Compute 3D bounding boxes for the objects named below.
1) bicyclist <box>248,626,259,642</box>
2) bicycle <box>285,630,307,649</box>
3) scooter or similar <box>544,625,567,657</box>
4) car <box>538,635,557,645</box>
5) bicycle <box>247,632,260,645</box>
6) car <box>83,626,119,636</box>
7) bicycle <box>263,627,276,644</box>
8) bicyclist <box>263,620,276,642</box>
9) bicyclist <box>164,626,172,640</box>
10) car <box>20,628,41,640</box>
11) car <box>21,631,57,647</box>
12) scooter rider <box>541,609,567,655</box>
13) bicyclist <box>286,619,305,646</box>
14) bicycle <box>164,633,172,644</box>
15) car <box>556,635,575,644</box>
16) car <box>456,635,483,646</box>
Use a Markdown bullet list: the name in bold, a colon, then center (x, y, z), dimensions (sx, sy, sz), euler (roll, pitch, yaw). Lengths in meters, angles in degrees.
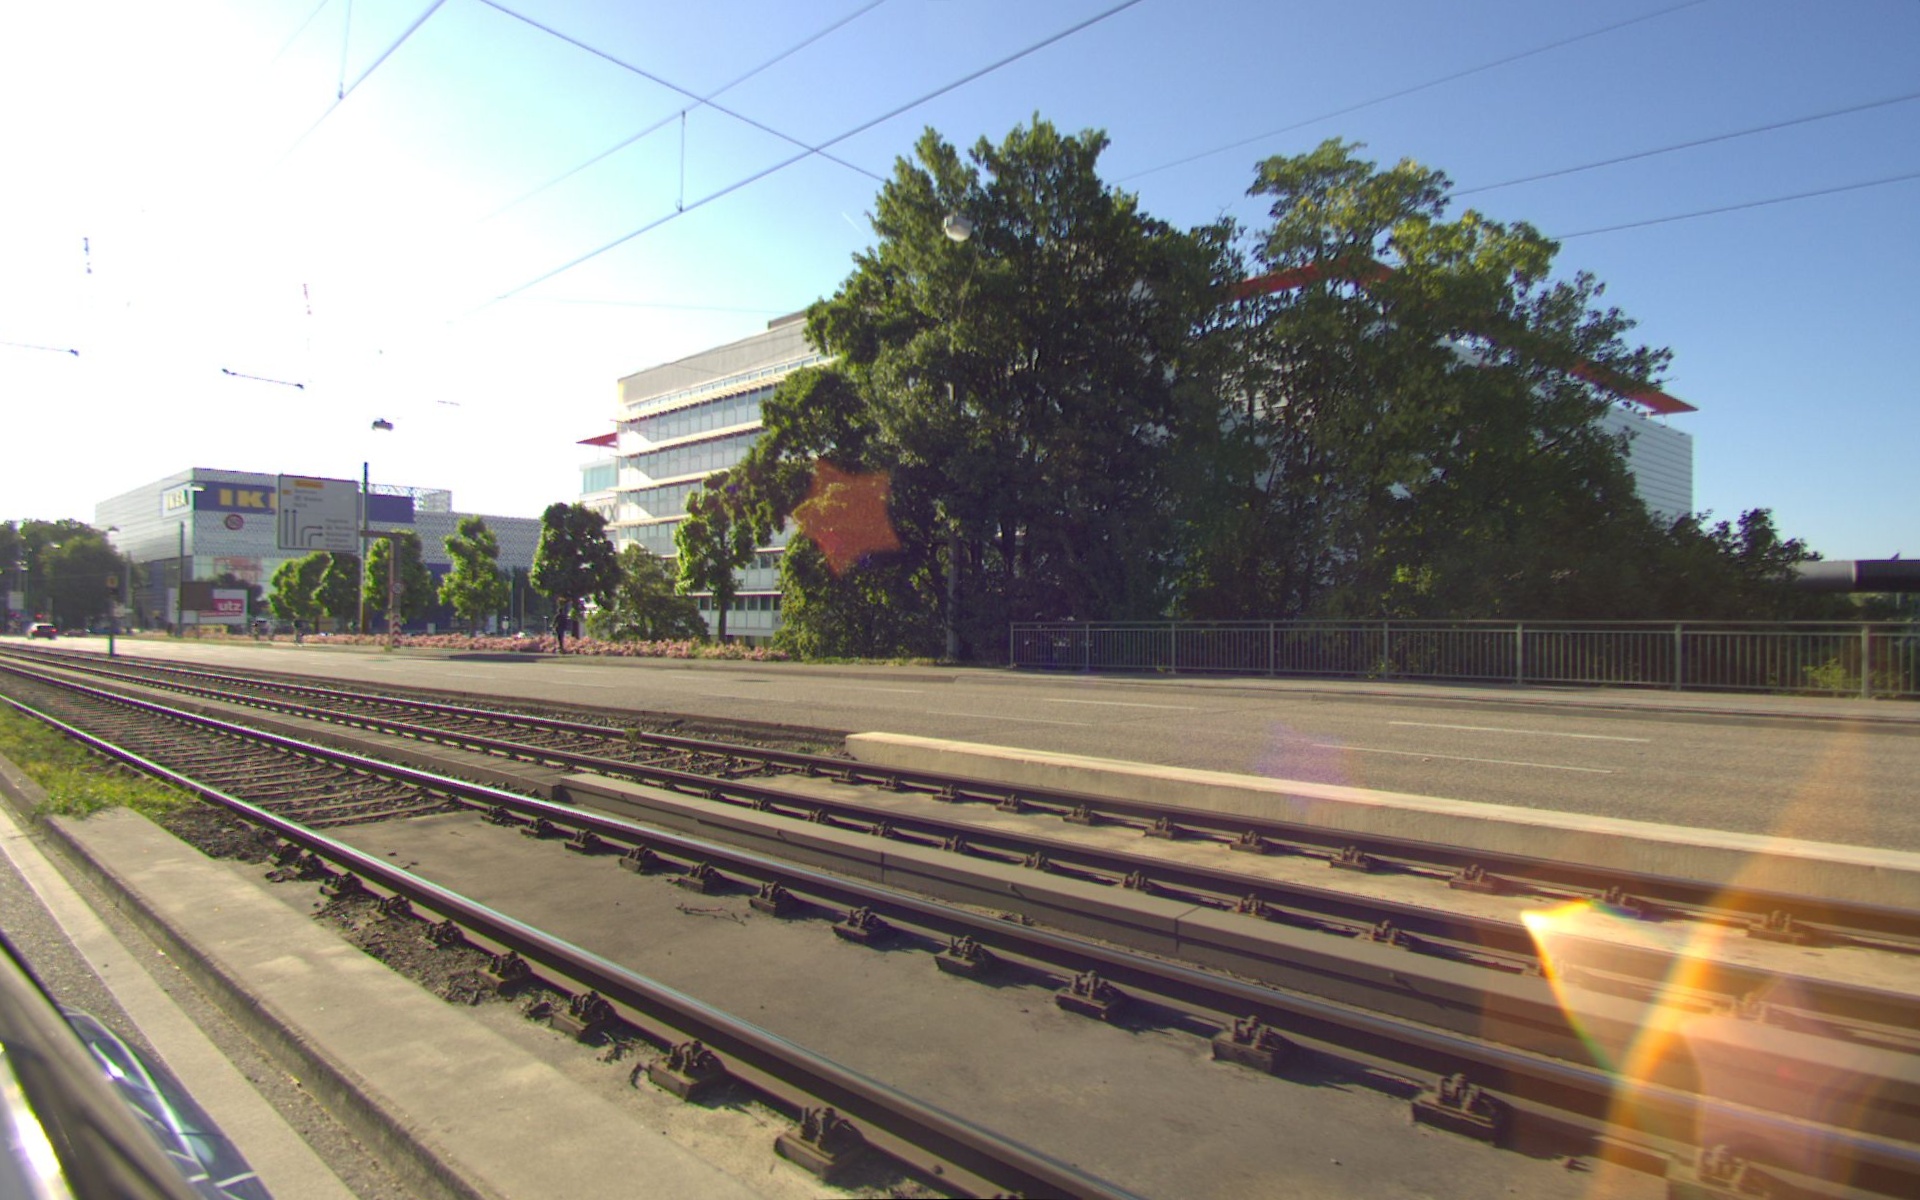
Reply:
- **bicyclist**: center (-60.612, 2.929, 86.796), dimensions (0.880, 1.384, 0.617), euler (-2, -3, 45)
- **bicycle**: center (-38.351, 2.280, 58.458), dimensions (0.696, 1.081, 2.030), euler (-2, 0, -42)
- **scooter or similar**: center (-16.562, 1.667, 41.429), dimensions (0.466, 1.306, 1.263), euler (1, -2, -43)
- **car**: center (-76.852, 7.446, 188.695), dimensions (3.999, 1.668, 1.704), euler (-2, -2, 42)
- **bicycle**: center (-60.598, 3.317, 86.777), dimensions (1.704, 1.067, 0.617), euler (-2, -3, 45)
- **car**: center (-139.381, 5.054, 164.224), dimensions (4.194, 1.509, 2.017), euler (4, -4, -44)
- **bicycle**: center (-53.264, 2.733, 78.067), dimensions (0.595, 1.228, 1.750), euler (-2, 0, -43)
- **bicyclist**: center (-53.248, 2.399, 78.034), dimensions (0.595, 1.671, 0.964), euler (-2, 0, -43)
- **bicyclist**: center (-91.069, 3.790, 116.361), dimensions (0.653, 1.635, 0.802), euler (-2, 0, -40)
- **car**: center (-124.826, 4.539, 135.939), dimensions (1.911, 1.488, 4.138), euler (4, -4, -41)
- **car**: center (-89.114, 3.725, 97.928), dimensions (4.885, 1.515, 2.018), euler (-1, -2, 41)
- **scooter rider**: center (-16.607, 1.300, 41.429), dimensions (0.674, 1.862, 1.002), euler (1, -2, -42)
- **bicyclist**: center (-38.421, 1.866, 58.507), dimensions (0.696, 1.523, 0.971), euler (-2, 0, -42)
- **bicycle**: center (-91.023, 4.436, 116.338), dimensions (0.653, 1.159, 2.025), euler (-2, 1, -40)
- **car**: center (-74.457, 7.416, 191.103), dimensions (3.999, 1.668, 1.777), euler (-2, -2, 42)
- **car**: center (-86.877, 7.210, 179.359), dimensions (4.197, 1.813, 1.815), euler (-2, 0, 20)
